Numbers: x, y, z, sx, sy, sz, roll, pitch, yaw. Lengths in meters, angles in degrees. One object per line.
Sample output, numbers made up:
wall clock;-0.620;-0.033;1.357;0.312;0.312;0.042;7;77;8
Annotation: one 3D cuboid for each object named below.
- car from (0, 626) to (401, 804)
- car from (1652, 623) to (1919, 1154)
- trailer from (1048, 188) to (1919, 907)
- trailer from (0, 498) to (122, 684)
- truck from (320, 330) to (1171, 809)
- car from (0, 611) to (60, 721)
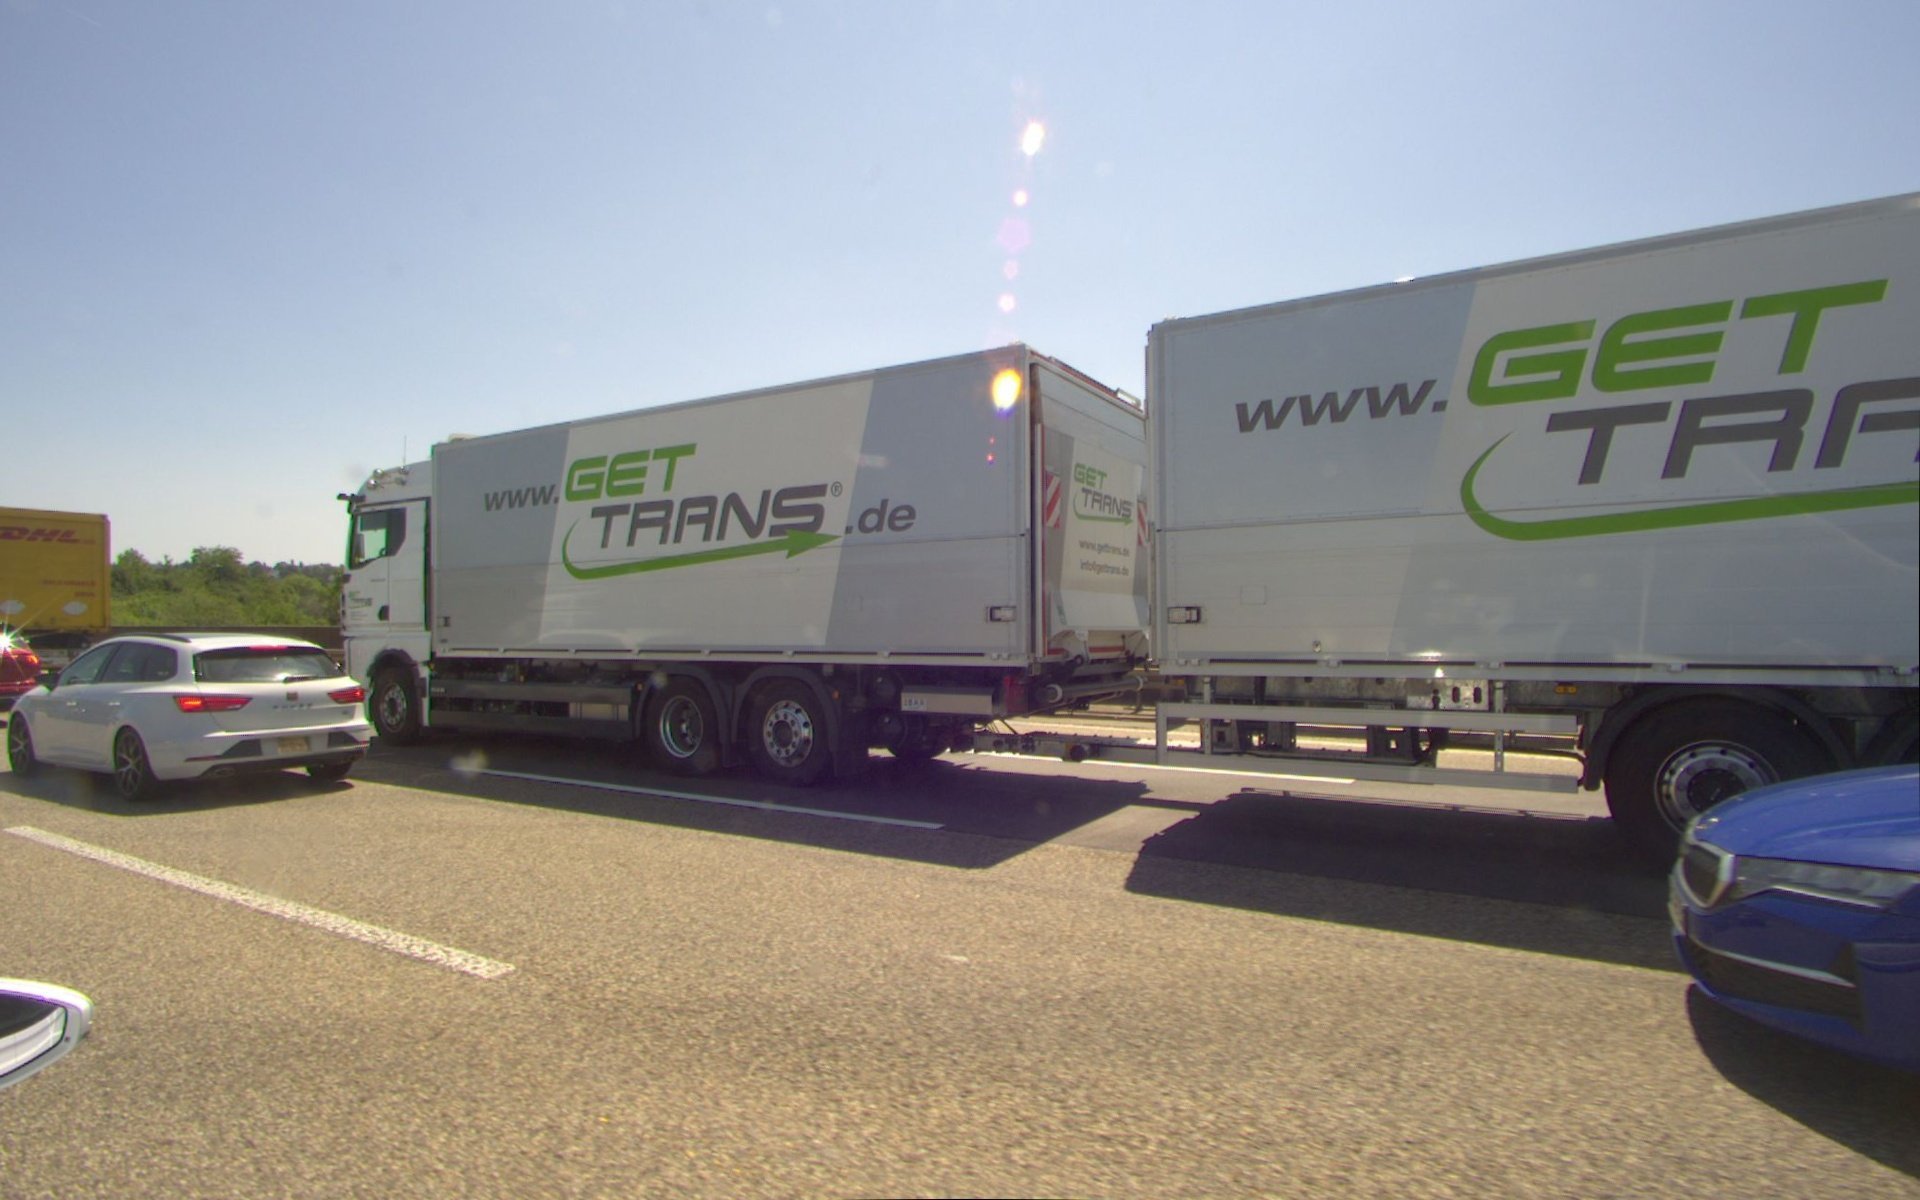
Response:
car;-7.529;0.965;9.832;4.126;1.405;1.779;-1;-1;31
car;4.553;0.790;2.581;4.434;1.459;1.707;-1;-1;31
trailer;4.883;-0.222;6.716;8.170;3.641;2.840;-1;-1;31
trailer;-24.406;-0.078;24.995;8.802;4.074;2.697;-1;-2;32
truck;-3.131;-0.118;11.609;10.611;3.648;2.847;-1;-2;31
car;-15.921;0.986;15.578;3.942;1.629;1.848;-1;-1;32
